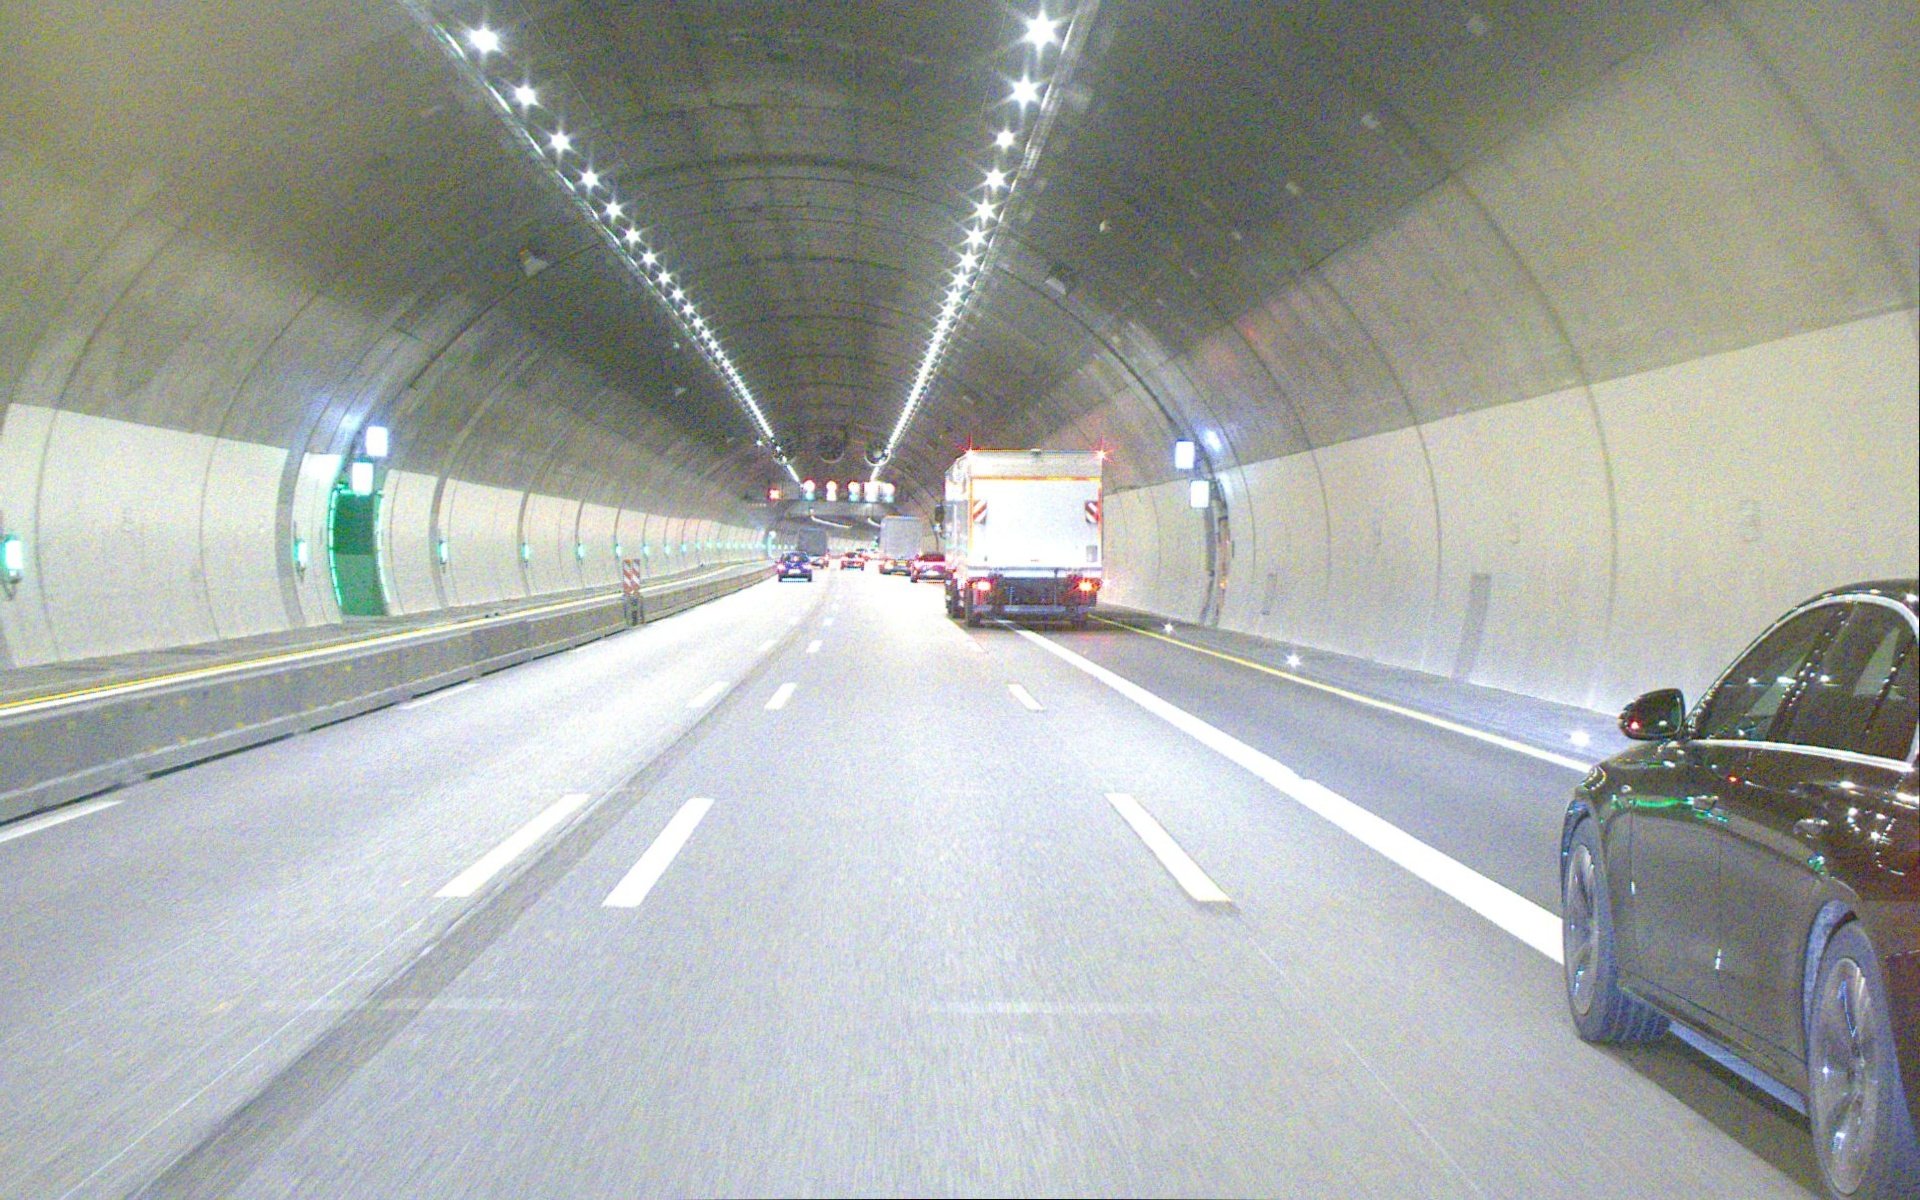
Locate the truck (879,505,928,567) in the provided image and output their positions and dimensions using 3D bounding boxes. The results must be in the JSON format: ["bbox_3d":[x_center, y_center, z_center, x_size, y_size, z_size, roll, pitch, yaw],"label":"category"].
[{"bbox_3d":[-3.883,-4.390,237.508,3.066,3.904,10.368,3,0,0],"label":"truck"}]

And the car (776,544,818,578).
[{"bbox_3d":[-7.491,-1.828,158.466,1.758,1.456,4.119,2,1,-1],"label":"car"}]

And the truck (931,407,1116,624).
[{"bbox_3d":[1.146,-1.562,69.279,3.092,3.904,10.368,3,0,-1],"label":"truck"}]

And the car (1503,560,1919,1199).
[{"bbox_3d":[2.783,0.685,8.787,1.925,1.467,4.954,2,0,0],"label":"car"}]

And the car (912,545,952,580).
[{"bbox_3d":[-1.266,-1.727,157.251,1.739,1.456,3.960,2,1,0],"label":"car"}]
